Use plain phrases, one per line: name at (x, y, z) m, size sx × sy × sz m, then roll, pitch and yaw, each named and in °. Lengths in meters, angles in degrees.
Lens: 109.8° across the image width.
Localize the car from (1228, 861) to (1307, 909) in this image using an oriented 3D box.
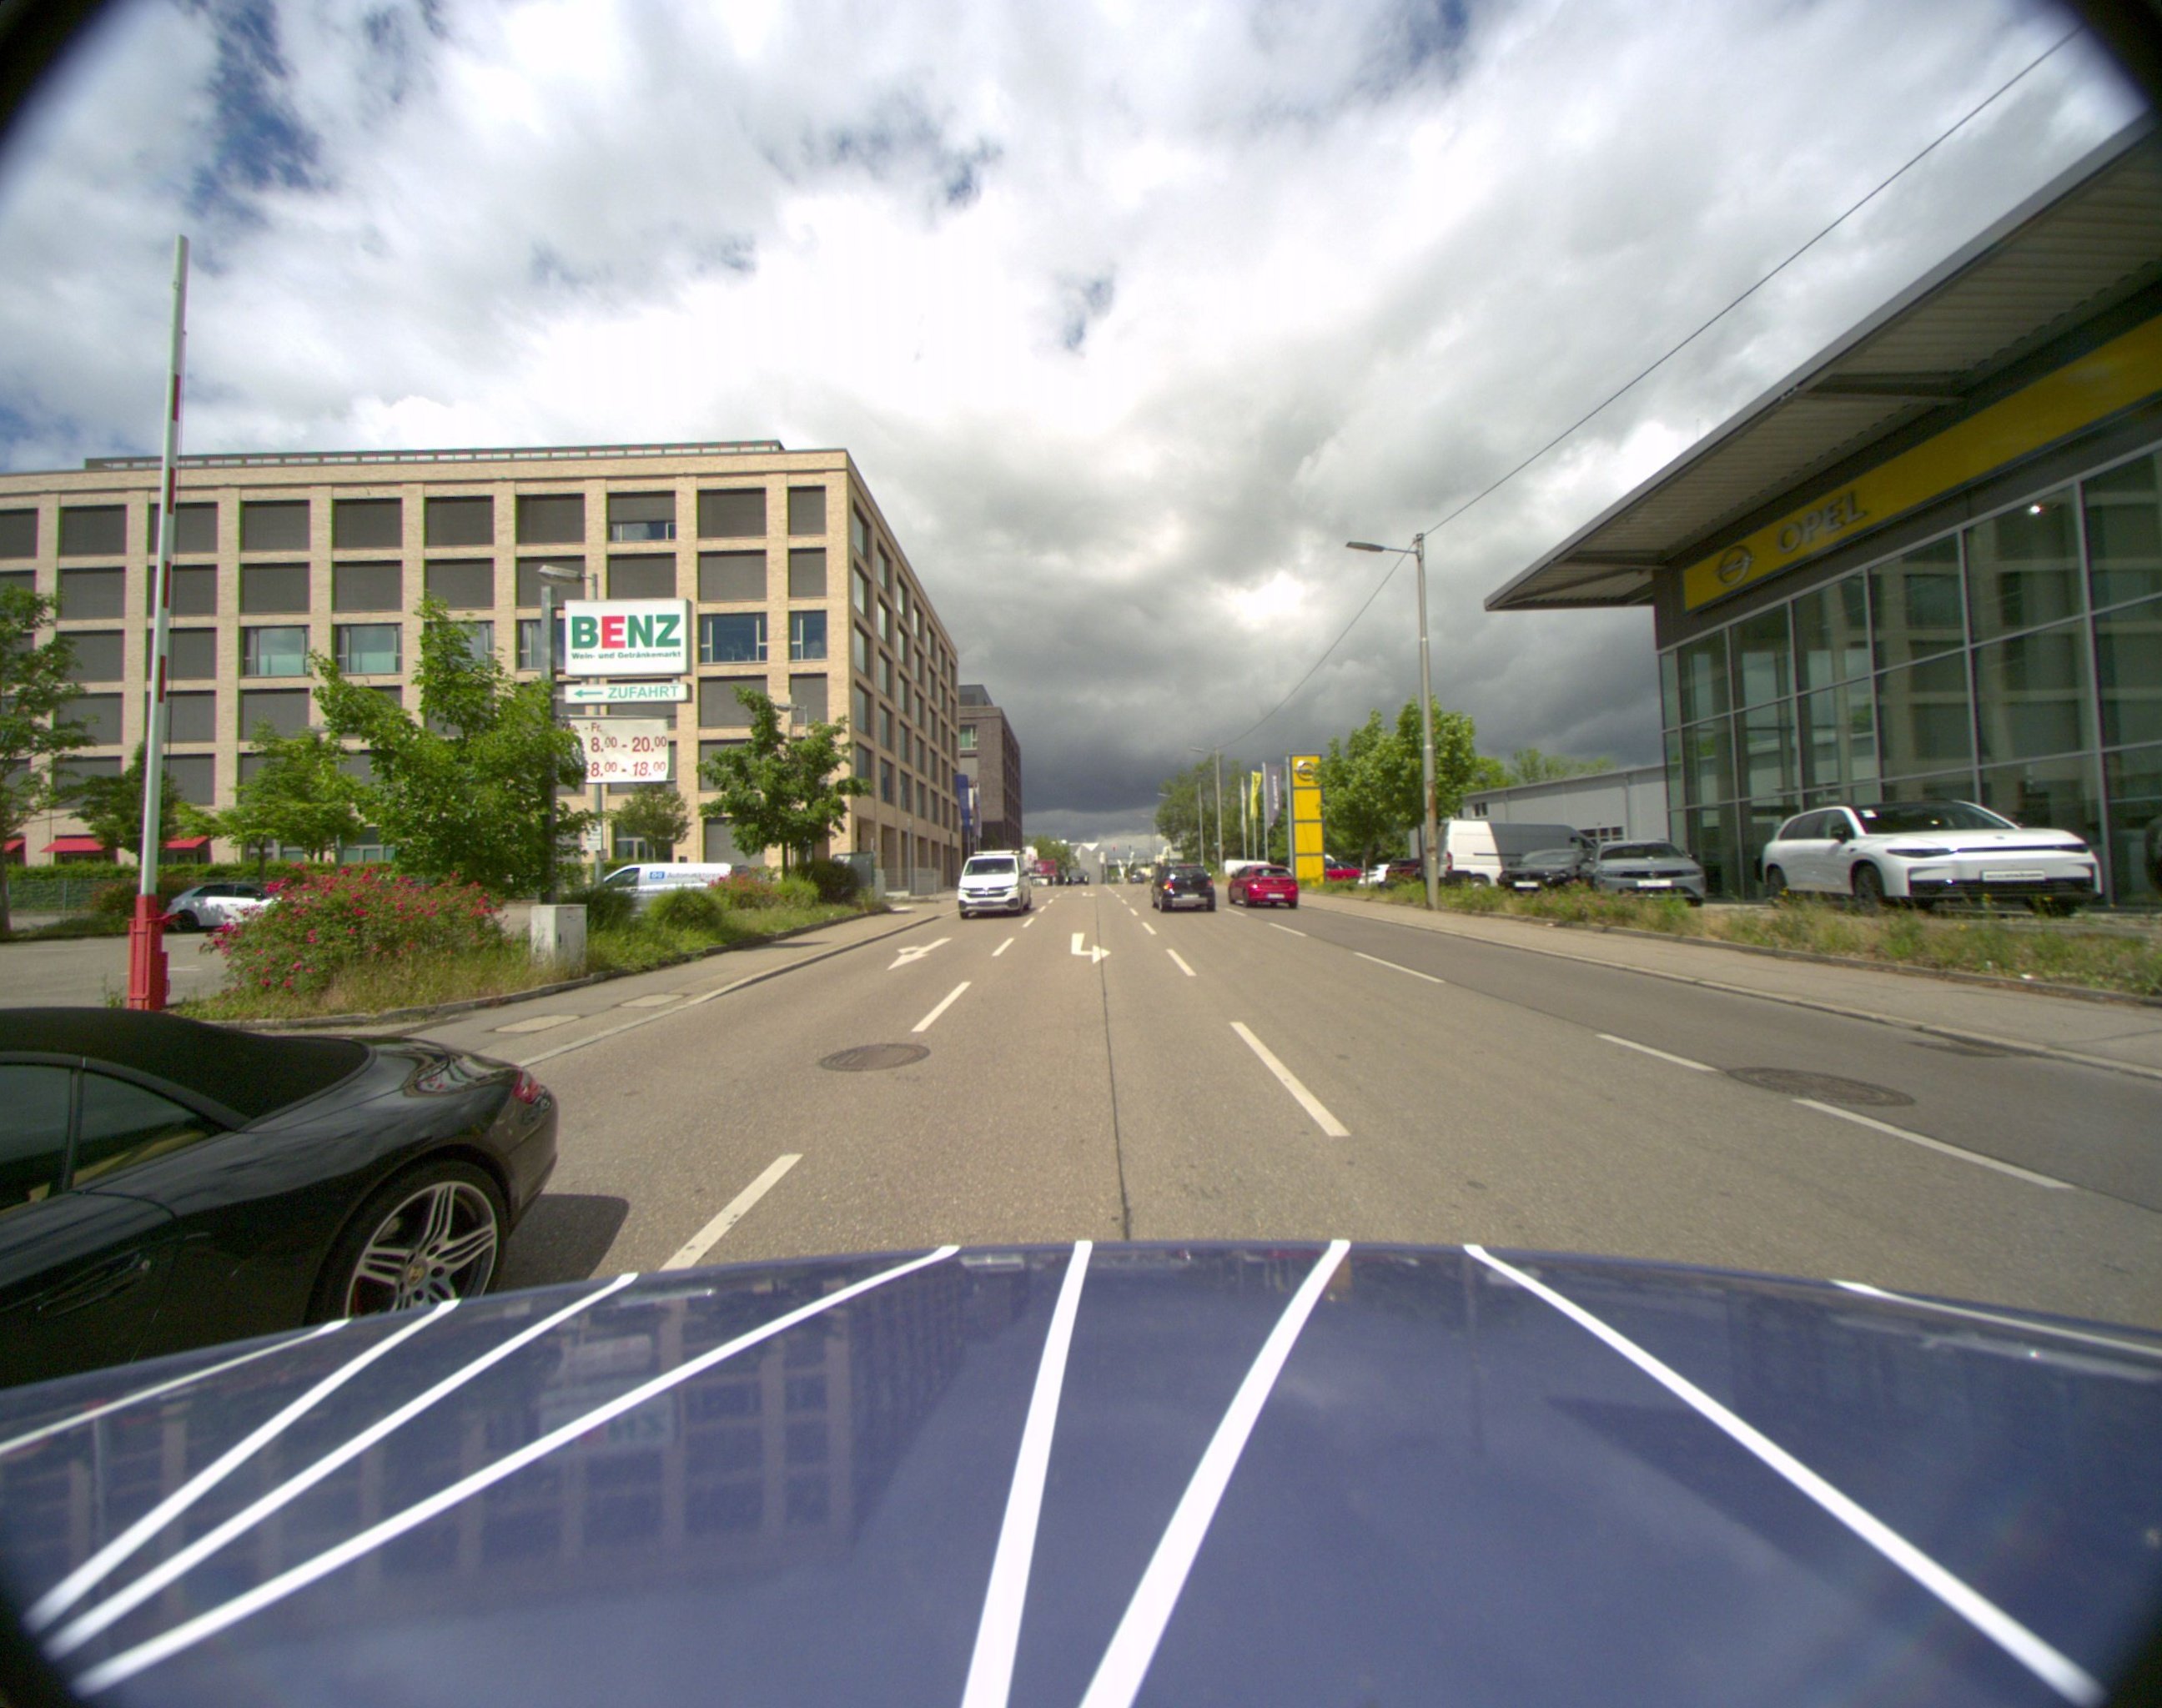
car at (6.248, 0.995, 25.835) m, size 1.875 × 1.482 × 3.850 m, roll 1°, pitch -1°, yaw 2°

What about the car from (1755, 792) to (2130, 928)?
car at (12.073, 0.102, 11.182) m, size 1.932 × 1.563 × 4.561 m, roll -2°, pitch -1°, yaw 24°

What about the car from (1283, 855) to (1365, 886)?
car at (13.449, 0.944, 42.227) m, size 3.996 × 1.579 × 1.755 m, roll 1°, pitch -2°, yaw 2°

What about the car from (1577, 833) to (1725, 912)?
car at (12.227, 0.431, 16.642) m, size 1.896 × 1.441 × 4.843 m, roll -3°, pitch -3°, yaw 29°

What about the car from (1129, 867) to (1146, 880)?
car at (7.024, 2.456, 94.735) m, size 1.748 × 1.586 × 4.043 m, roll 1°, pitch -1°, yaw 0°

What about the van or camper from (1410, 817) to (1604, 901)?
van or camper at (13.989, 0.194, 25.227) m, size 5.039 × 2.515 × 2.319 m, roll -2°, pitch -2°, yaw 0°

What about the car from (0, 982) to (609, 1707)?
car at (-3.067, 1.149, 1.129) m, size 1.935 × 1.368 × 4.211 m, roll -2°, pitch -3°, yaw 3°

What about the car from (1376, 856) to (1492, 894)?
car at (15.002, 0.916, 32.486) m, size 3.996 × 1.482 × 2.001 m, roll -2°, pitch -2°, yaw 4°

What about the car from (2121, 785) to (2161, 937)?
car at (12.126, -0.011, 6.454) m, size 1.995 × 1.688 × 4.494 m, roll -3°, pitch -3°, yaw 27°

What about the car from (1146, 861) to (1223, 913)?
car at (3.204, 0.995, 24.321) m, size 1.834 × 1.500 × 4.277 m, roll -1°, pitch -1°, yaw -1°

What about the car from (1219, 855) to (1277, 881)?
car at (13.585, 1.157, 61.887) m, size 4.171 × 2.001 × 2.199 m, roll -2°, pitch -2°, yaw -1°

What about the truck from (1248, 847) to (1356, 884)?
truck at (13.381, 0.685, 46.285) m, size 5.877 × 2.135 × 2.476 m, roll -1°, pitch 0°, yaw -2°

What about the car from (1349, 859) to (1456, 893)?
car at (14.651, 1.000, 34.772) m, size 3.997 × 1.401 × 2.000 m, roll -2°, pitch 0°, yaw 0°

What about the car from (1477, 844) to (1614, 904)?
car at (12.979, 0.511, 21.125) m, size 4.485 × 1.500 × 1.938 m, roll 0°, pitch -1°, yaw -41°

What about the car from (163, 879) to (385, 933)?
car at (-23.800, 1.506, 22.551) m, size 4.444 × 1.482 × 1.889 m, roll 0°, pitch -1°, yaw -2°

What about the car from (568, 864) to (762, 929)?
car at (-12.451, 1.232, 23.051) m, size 4.722 × 1.837 × 2.088 m, roll 0°, pitch 0°, yaw -6°

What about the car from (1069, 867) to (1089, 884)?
car at (-0.200, 1.898, 68.576) m, size 1.726 × 1.394 × 4.208 m, roll 0°, pitch 0°, yaw 0°

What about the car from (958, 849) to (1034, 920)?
car at (-2.644, 0.916, 24.472) m, size 1.935 × 2.078 × 4.208 m, roll 0°, pitch 0°, yaw 0°

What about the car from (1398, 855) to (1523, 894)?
car at (15.112, 0.788, 30.410) m, size 3.997 × 1.401 × 1.929 m, roll -2°, pitch 0°, yaw 0°
